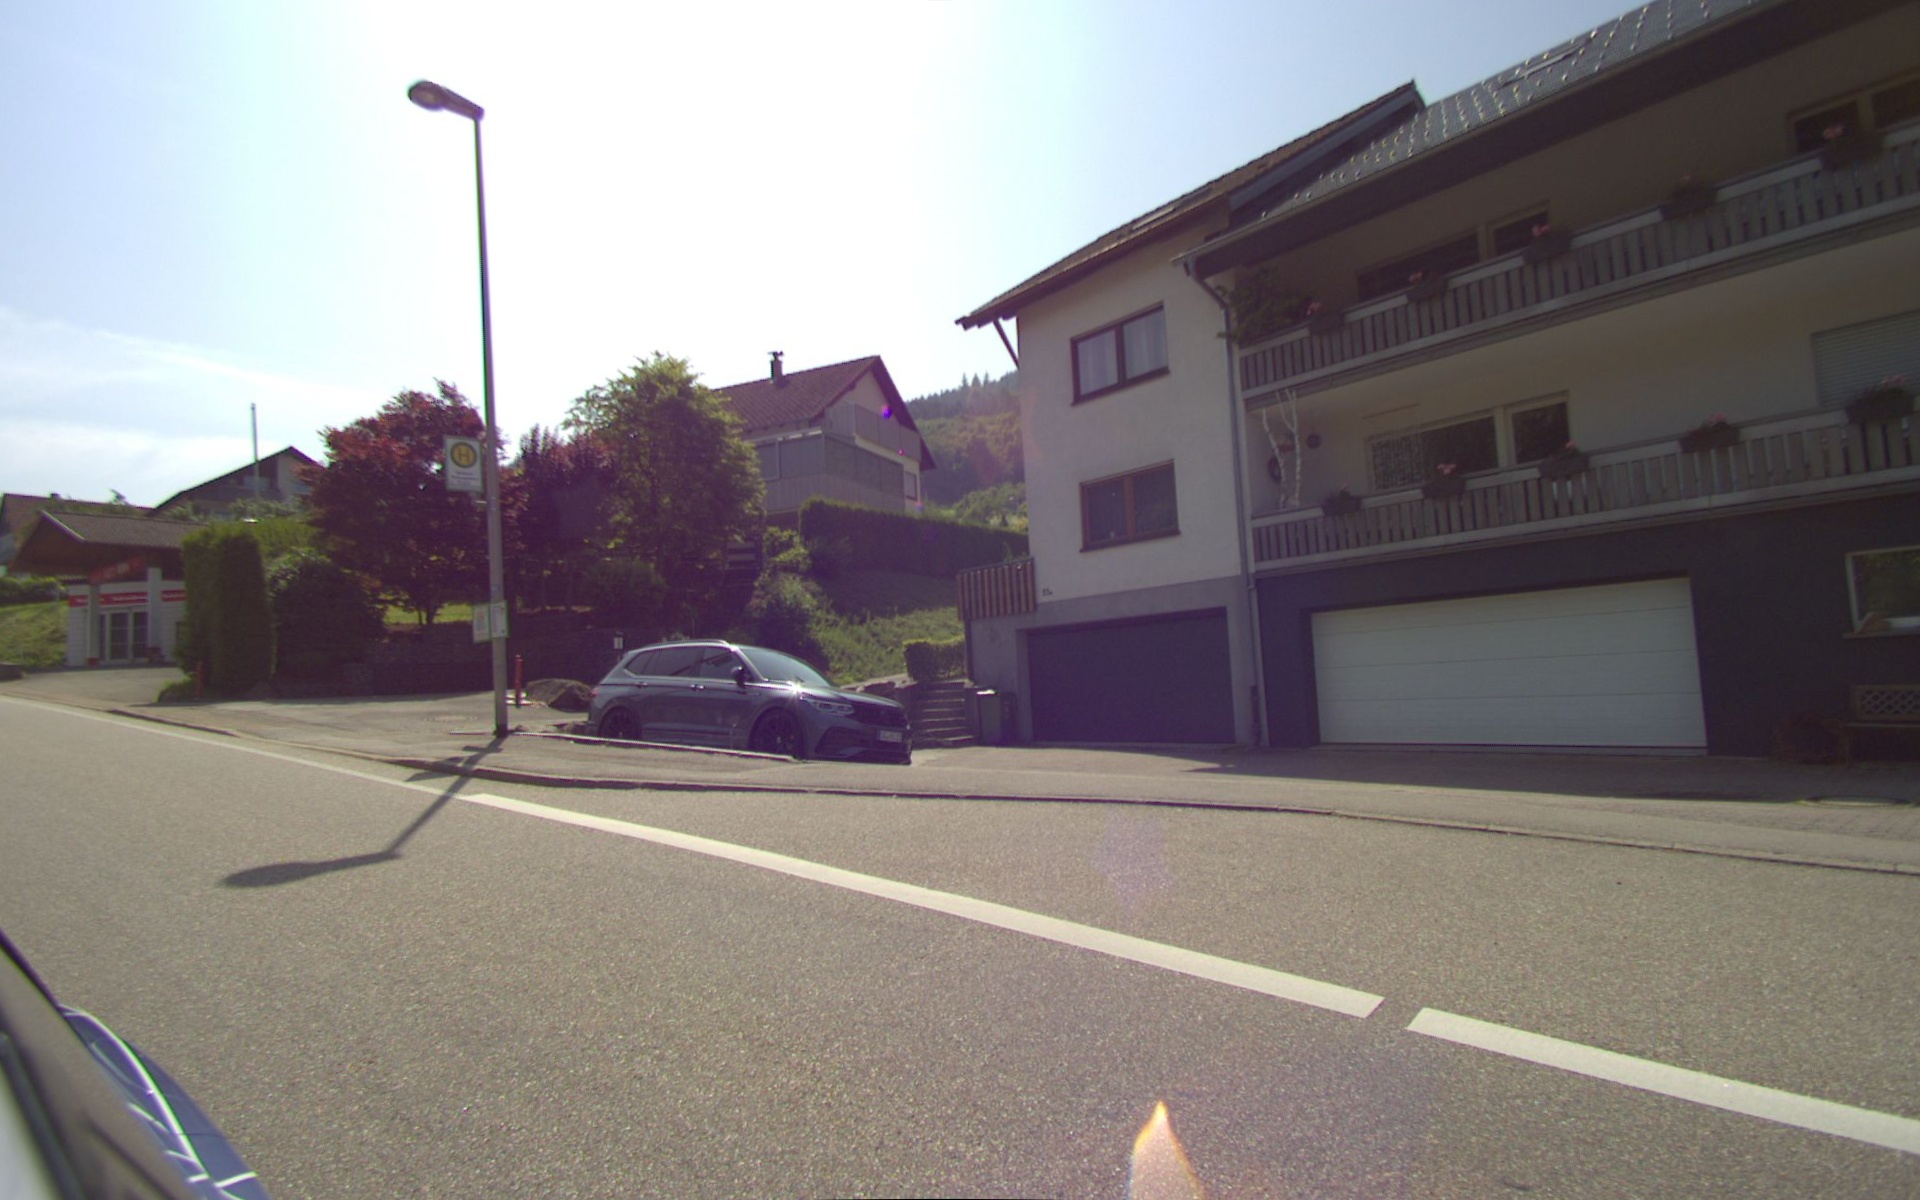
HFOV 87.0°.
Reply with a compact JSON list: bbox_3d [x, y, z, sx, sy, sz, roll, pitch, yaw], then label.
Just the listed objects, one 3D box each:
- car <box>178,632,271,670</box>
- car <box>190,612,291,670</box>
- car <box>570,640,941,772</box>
[{"bbox_3d":[-30.619,2.127,42.107,4.336,1.424,1.939,-4,-5,37],"label":"car"},{"bbox_3d":[-26.274,1.454,37.151,1.992,1.944,4.793,4,-2,-24],"label":"car"},{"bbox_3d":[-2.646,1.190,12.551,4.684,1.349,1.767,-2,-3,35],"label":"car"}]
